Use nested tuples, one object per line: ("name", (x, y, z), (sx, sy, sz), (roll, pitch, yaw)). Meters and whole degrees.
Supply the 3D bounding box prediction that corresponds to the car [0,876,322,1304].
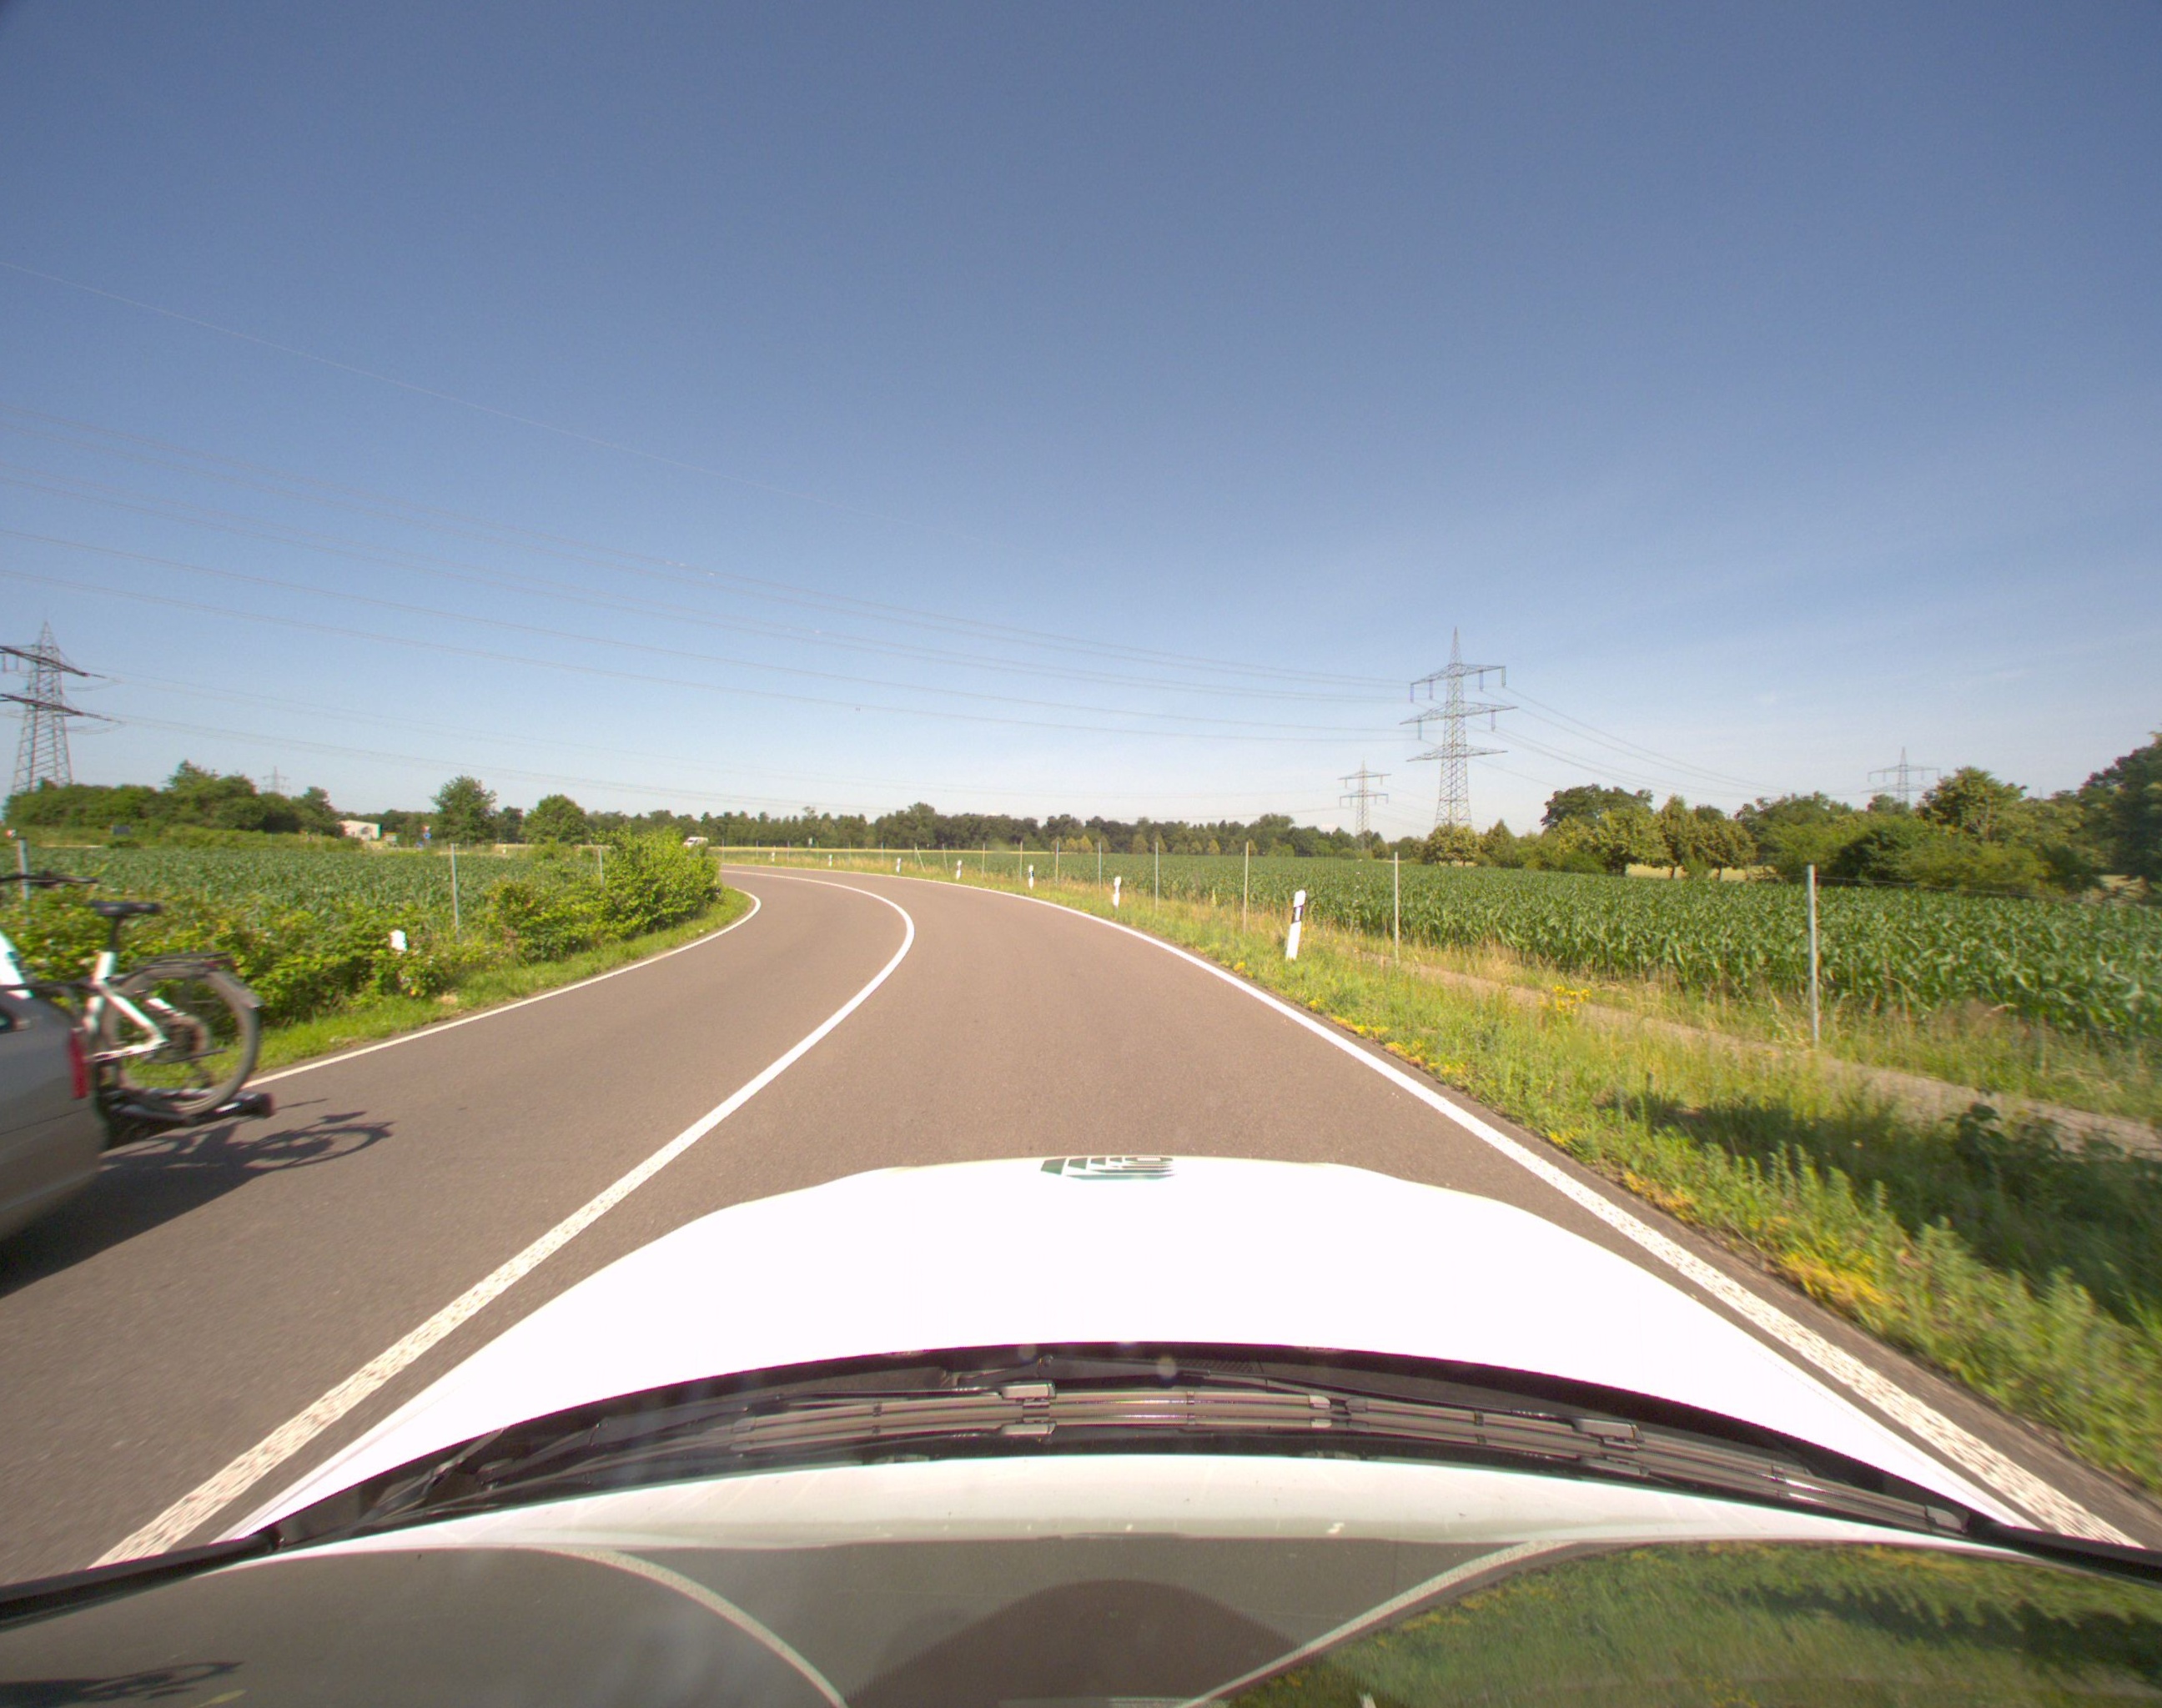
("car", (-4.744, 0.911, 1.548), (1.862, 1.481, 5.131), (-3, 0, -3))
